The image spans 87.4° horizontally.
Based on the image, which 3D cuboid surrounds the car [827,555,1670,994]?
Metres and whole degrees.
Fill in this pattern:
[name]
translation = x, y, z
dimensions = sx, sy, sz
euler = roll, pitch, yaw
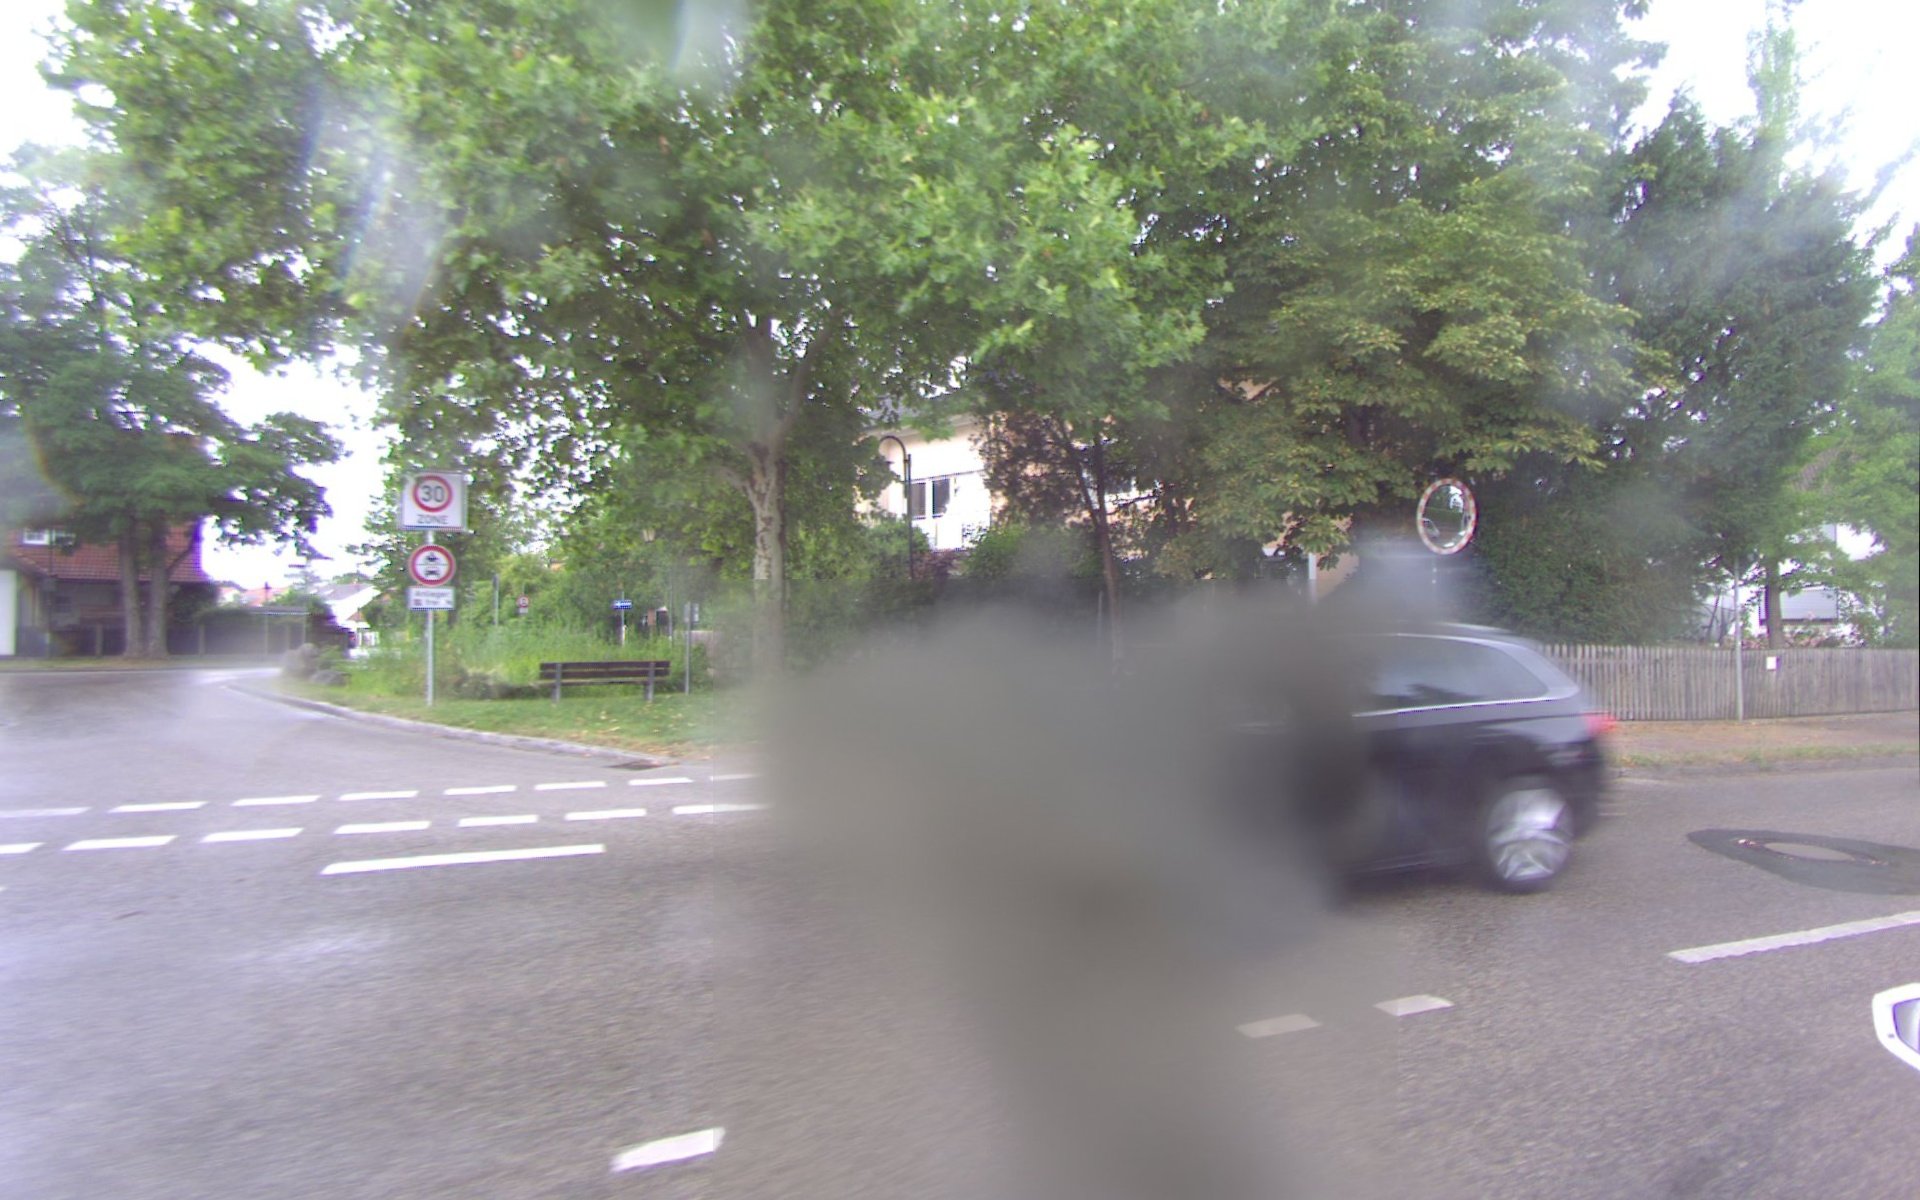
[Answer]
[car]
translation = 1.643, 0.749, 5.576
dimensions = 4.385, 1.685, 1.779
euler = 2, -1, -24
